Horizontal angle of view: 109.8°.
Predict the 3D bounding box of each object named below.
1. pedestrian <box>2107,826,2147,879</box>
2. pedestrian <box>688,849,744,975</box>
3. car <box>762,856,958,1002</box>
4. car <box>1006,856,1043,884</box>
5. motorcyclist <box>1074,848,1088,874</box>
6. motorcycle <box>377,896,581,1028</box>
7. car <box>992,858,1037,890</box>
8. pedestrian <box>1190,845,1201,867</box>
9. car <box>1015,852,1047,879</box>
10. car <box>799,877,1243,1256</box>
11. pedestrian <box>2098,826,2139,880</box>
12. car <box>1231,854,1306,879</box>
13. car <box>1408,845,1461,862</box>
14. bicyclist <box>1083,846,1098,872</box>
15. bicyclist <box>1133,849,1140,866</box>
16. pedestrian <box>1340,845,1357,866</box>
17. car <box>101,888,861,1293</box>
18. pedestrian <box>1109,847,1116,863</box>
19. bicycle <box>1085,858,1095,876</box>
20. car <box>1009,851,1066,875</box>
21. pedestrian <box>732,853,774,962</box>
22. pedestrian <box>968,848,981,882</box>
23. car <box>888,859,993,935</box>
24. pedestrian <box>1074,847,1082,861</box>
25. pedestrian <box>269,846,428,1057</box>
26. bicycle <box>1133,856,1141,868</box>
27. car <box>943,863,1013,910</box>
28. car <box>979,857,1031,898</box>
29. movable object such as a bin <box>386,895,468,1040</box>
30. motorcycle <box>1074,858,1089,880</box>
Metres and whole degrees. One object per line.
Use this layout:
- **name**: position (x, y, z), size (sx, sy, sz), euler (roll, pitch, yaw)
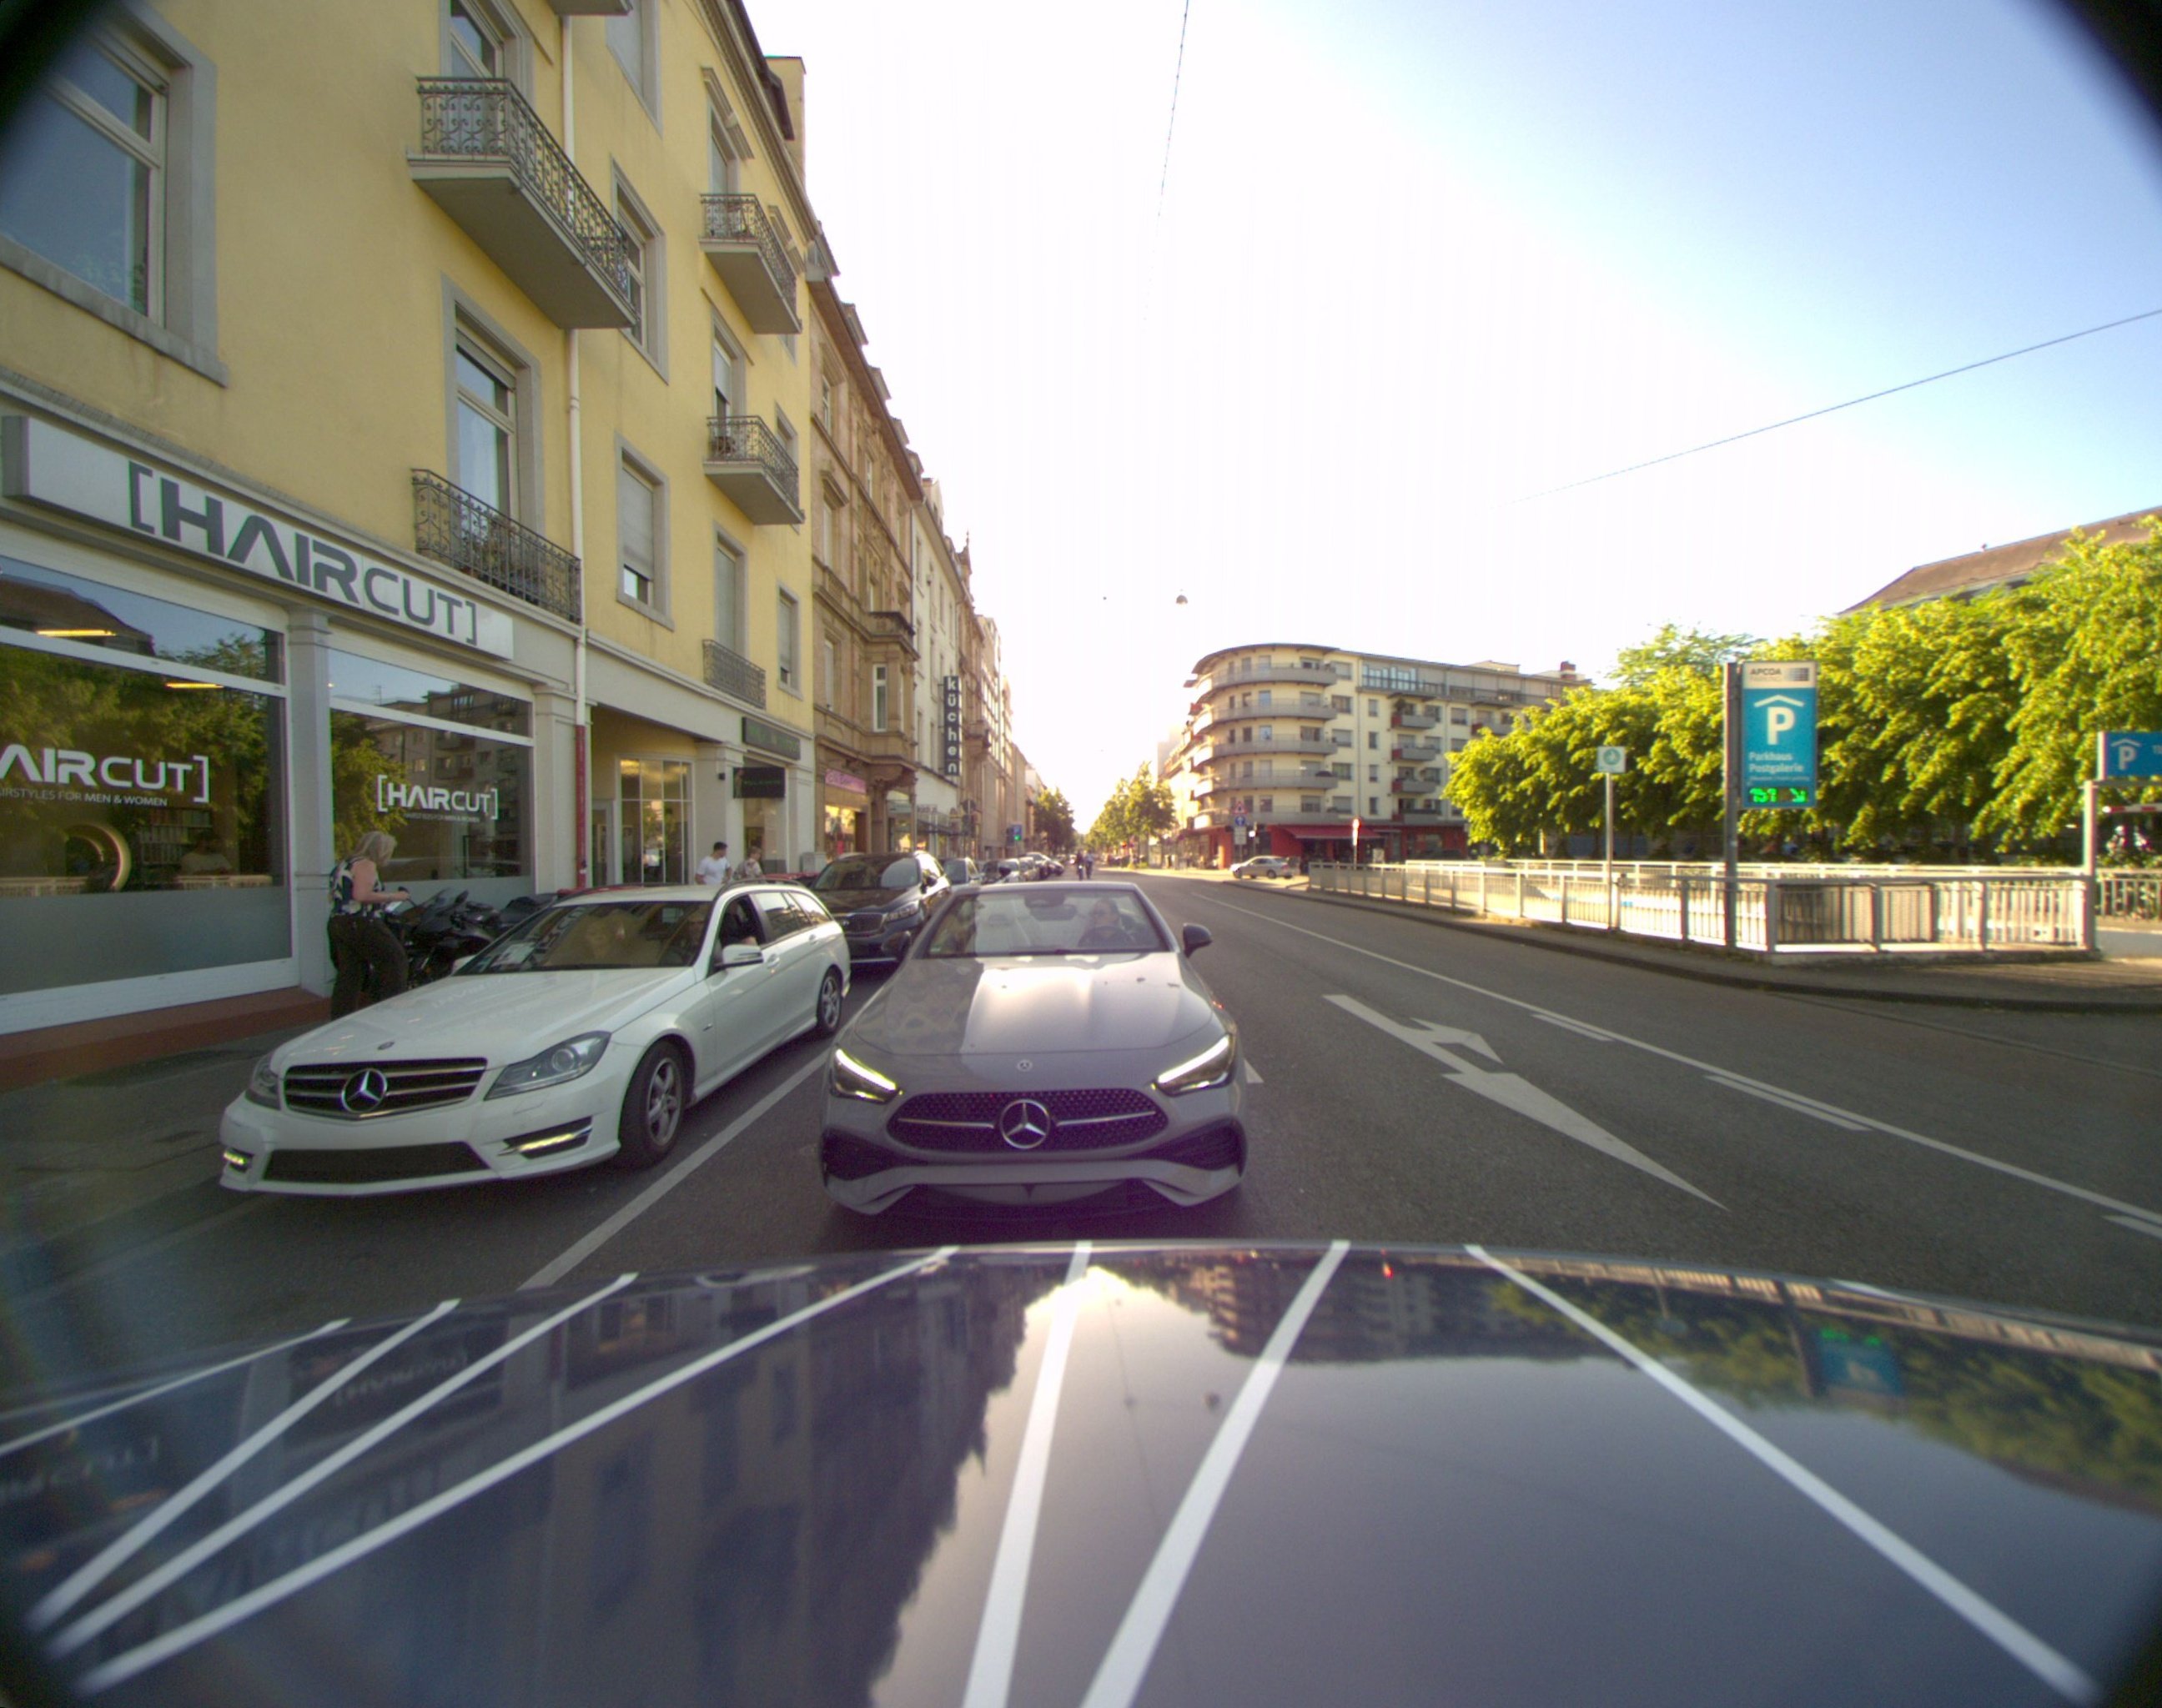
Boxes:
- **pedestrian**: position (34.460, -0.044, 25.038), size (0.647, 1.711, 0.607), euler (-3, 1, -19)
- **pedestrian**: position (-5.848, 0.904, 12.204), size (0.373, 1.971, 0.695), euler (0, 1, 23)
- **car**: position (-3.000, 0.907, 11.284), size (1.803, 1.629, 4.243), euler (-2, 1, -3)
- **car**: position (-3.047, 0.841, 41.313), size (1.725, 1.332, 3.668), euler (-2, 1, -1)
- **motorcyclist**: position (0.011, 0.368, 43.083), size (0.722, 1.438, 0.705), euler (-2, 1, 2)
- **motorcycle**: position (-6.187, 1.047, 7.972), size (0.567, 1.072, 1.954), euler (2, 1, 1)
- **car**: position (-3.156, 0.939, 36.777), size (1.802, 1.332, 3.838), euler (-2, 1, -1)
- **pedestrian**: position (10.279, 0.178, 68.208), size (0.860, 2.002, 0.889), euler (-2, 1, 0)
- **car**: position (-3.080, 0.696, 47.720), size (1.725, 1.506, 4.004), euler (-2, 1, -1)
- **car**: position (-0.254, 0.953, 5.173), size (1.802, 1.351, 3.999), euler (-2, 1, 0)
- **pedestrian**: position (33.799, -0.044, 24.758), size (0.647, 1.711, 0.607), euler (-3, 1, -19)
- **car**: position (11.566, 0.722, 47.024), size (1.828, 1.346, 4.252), euler (0, 2, -39)
- **car**: position (29.042, -0.053, 62.436), size (4.004, 1.294, 1.753), euler (-2, 1, -23)
- **bicyclist**: position (0.622, 0.321, 48.308), size (0.885, 1.625, 0.769), euler (-2, 1, 1)
- **bicyclist**: position (5.339, 0.314, 72.797), size (0.525, 1.539, 0.798), euler (-2, 1, -3)
- **pedestrian**: position (20.657, 0.137, 58.735), size (0.863, 1.586, 0.887), euler (-3, 1, -38)
- **car**: position (-3.065, 1.064, 5.275), size (1.704, 1.351, 4.378), euler (-2, 1, 1)
- **pedestrian**: position (4.061, 0.077, 98.461), size (0.860, 2.002, 0.889), euler (-2, 1, 1)
- **bicycle**: position (0.575, 0.830, 48.286), size (0.640, 1.078, 2.061), euler (-1, 0, 1)
- **car**: position (-3.102, 0.629, 54.634), size (3.997, 1.543, 1.857), euler (-2, 1, -1)
- **pedestrian**: position (-5.786, 0.909, 13.383), size (0.576, 1.840, 0.664), euler (-3, 1, -25)
- **pedestrian**: position (-5.898, 0.595, 42.122), size (0.574, 1.840, 0.665), euler (-2, 1, 1)
- **car**: position (-3.289, 0.942, 18.586), size (1.802, 1.518, 4.085), euler (-2, 1, -1)
- **pedestrian**: position (-0.414, 0.028, 120.371), size (1.205, 2.153, 1.280), euler (-2, 1, 1)
- **pedestrian**: position (-6.002, 0.765, 6.260), size (0.719, 1.644, 0.606), euler (1, 1, 1)
- **bicycle**: position (5.354, 0.757, 72.850), size (0.527, 1.163, 1.592), euler (-2, 1, -3)
- **car**: position (-3.349, 1.021, 25.380), size (1.802, 1.259, 4.085), euler (-2, 1, -1)
- **car**: position (-3.001, 0.908, 30.738), size (1.660, 1.423, 4.085), euler (-2, 1, -1)
- **movable object such as a bin**: position (-5.820, 0.992, 6.772), size (0.391, 1.231, 0.394), euler (1, 1, 1)
- **motorcycle**: position (0.027, 0.836, 43.138), size (0.720, 1.177, 1.906), euler (-2, 1, 2)
